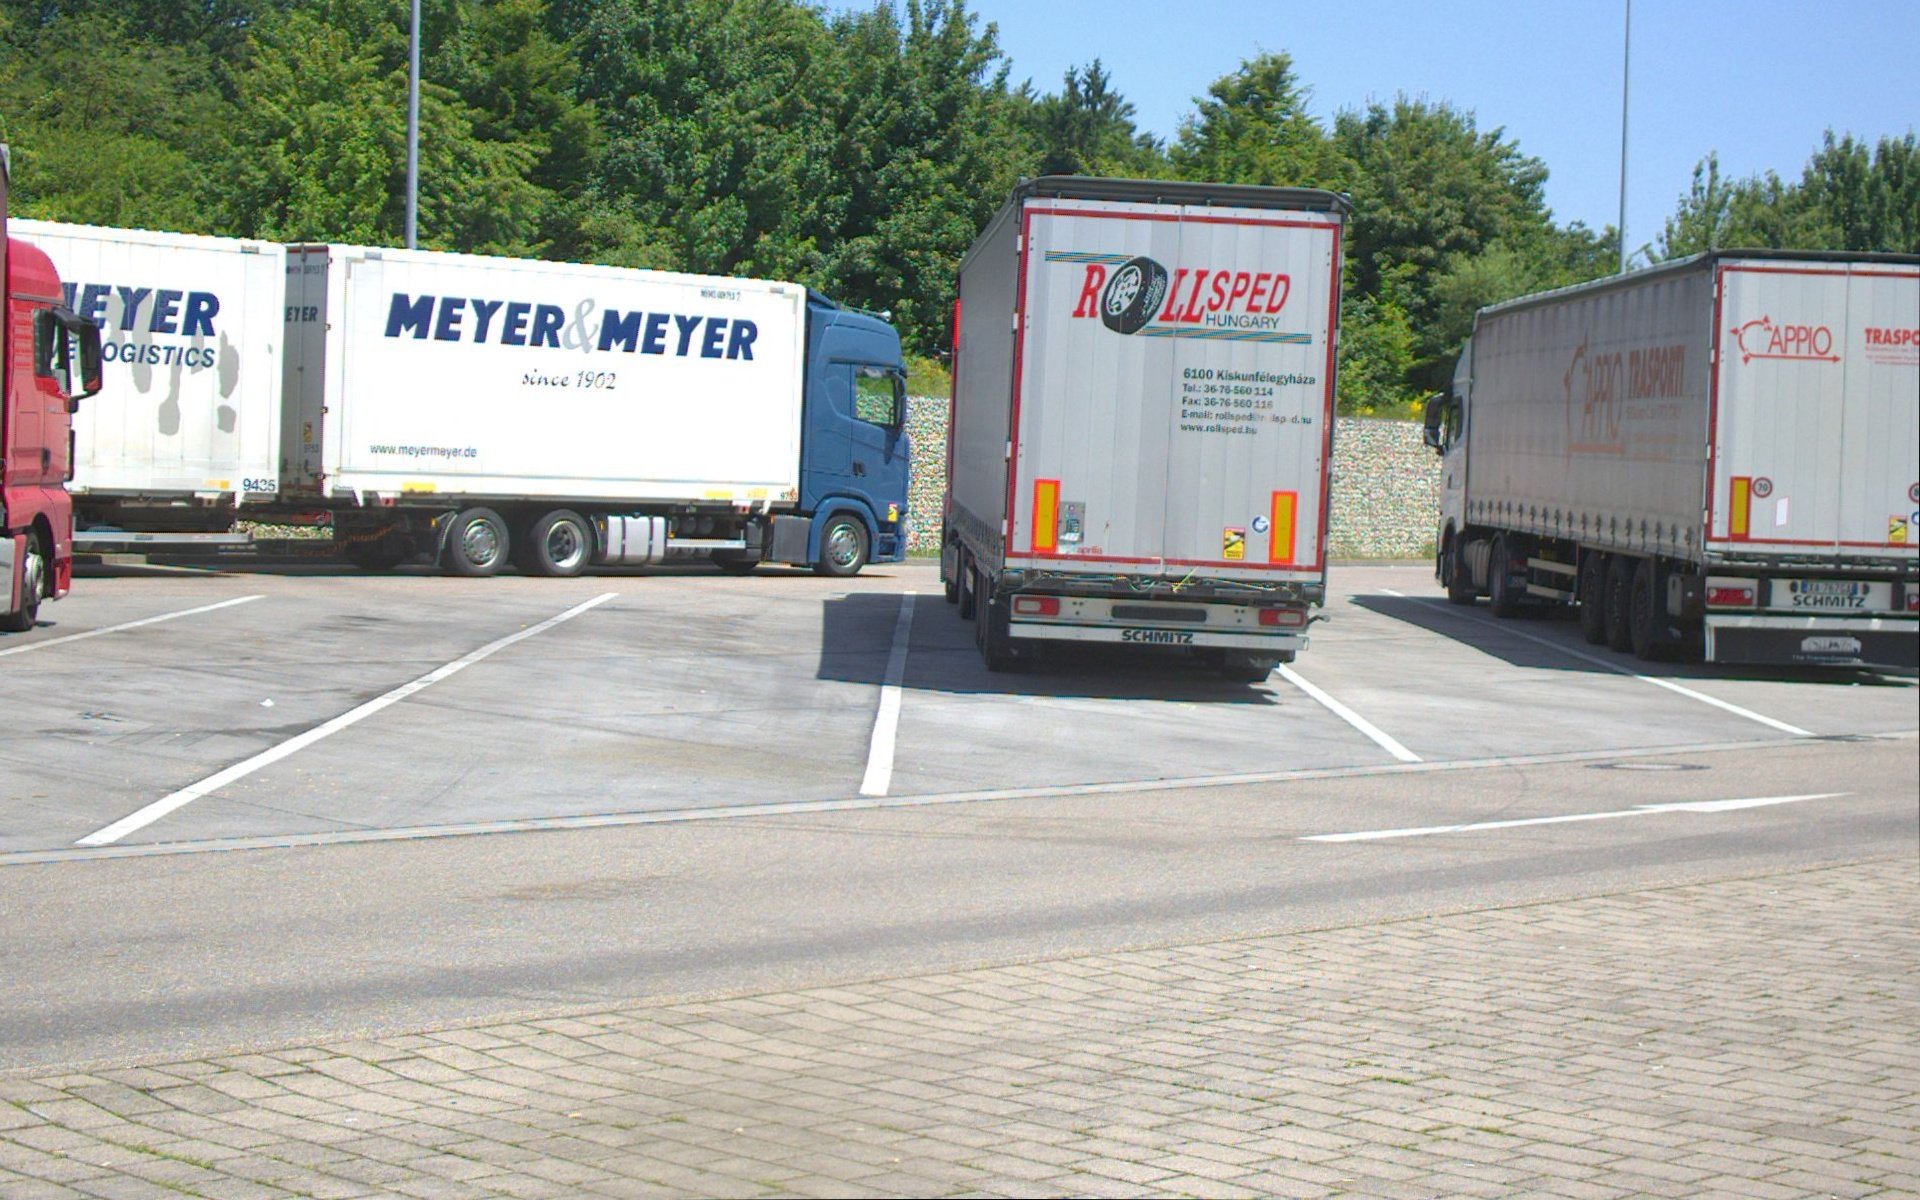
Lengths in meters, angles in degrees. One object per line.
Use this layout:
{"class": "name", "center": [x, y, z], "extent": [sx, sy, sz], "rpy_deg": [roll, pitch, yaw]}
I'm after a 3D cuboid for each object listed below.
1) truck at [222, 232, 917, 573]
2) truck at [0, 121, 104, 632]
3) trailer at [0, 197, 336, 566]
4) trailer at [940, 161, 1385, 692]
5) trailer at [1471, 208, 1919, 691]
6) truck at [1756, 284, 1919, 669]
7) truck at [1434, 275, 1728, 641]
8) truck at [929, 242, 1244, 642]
{"class": "truck", "center": [-4.927, -2.442, 45.881], "extent": [2.240, 4.019, 10.028], "rpy_deg": [2, 1, 44]}
{"class": "truck", "center": [-9.166, -1.833, 28.338], "extent": [2.805, 4.119, 5.894], "rpy_deg": [1, 2, -1]}
{"class": "trailer", "center": [-11.067, -2.461, 39.378], "extent": [2.262, 4.053, 7.866], "rpy_deg": [1, 1, 43]}
{"class": "trailer", "center": [1.506, -1.496, 31.768], "extent": [2.897, 4.000, 11.319], "rpy_deg": [1, 2, -3]}
{"class": "trailer", "center": [8.124, -1.584, 38.146], "extent": [2.681, 4.437, 12.831], "rpy_deg": [1, 2, -1]}
{"class": "truck", "center": [11.741, -1.346, 38.733], "extent": [2.587, 4.211, 11.971], "rpy_deg": [1, 1, -1]}
{"class": "truck", "center": [7.995, -1.823, 44.964], "extent": [2.661, 4.437, 5.864], "rpy_deg": [1, 2, -1]}
{"class": "truck", "center": [1.247, -1.688, 37.659], "extent": [2.871, 3.966, 6.030], "rpy_deg": [1, 2, -3]}
